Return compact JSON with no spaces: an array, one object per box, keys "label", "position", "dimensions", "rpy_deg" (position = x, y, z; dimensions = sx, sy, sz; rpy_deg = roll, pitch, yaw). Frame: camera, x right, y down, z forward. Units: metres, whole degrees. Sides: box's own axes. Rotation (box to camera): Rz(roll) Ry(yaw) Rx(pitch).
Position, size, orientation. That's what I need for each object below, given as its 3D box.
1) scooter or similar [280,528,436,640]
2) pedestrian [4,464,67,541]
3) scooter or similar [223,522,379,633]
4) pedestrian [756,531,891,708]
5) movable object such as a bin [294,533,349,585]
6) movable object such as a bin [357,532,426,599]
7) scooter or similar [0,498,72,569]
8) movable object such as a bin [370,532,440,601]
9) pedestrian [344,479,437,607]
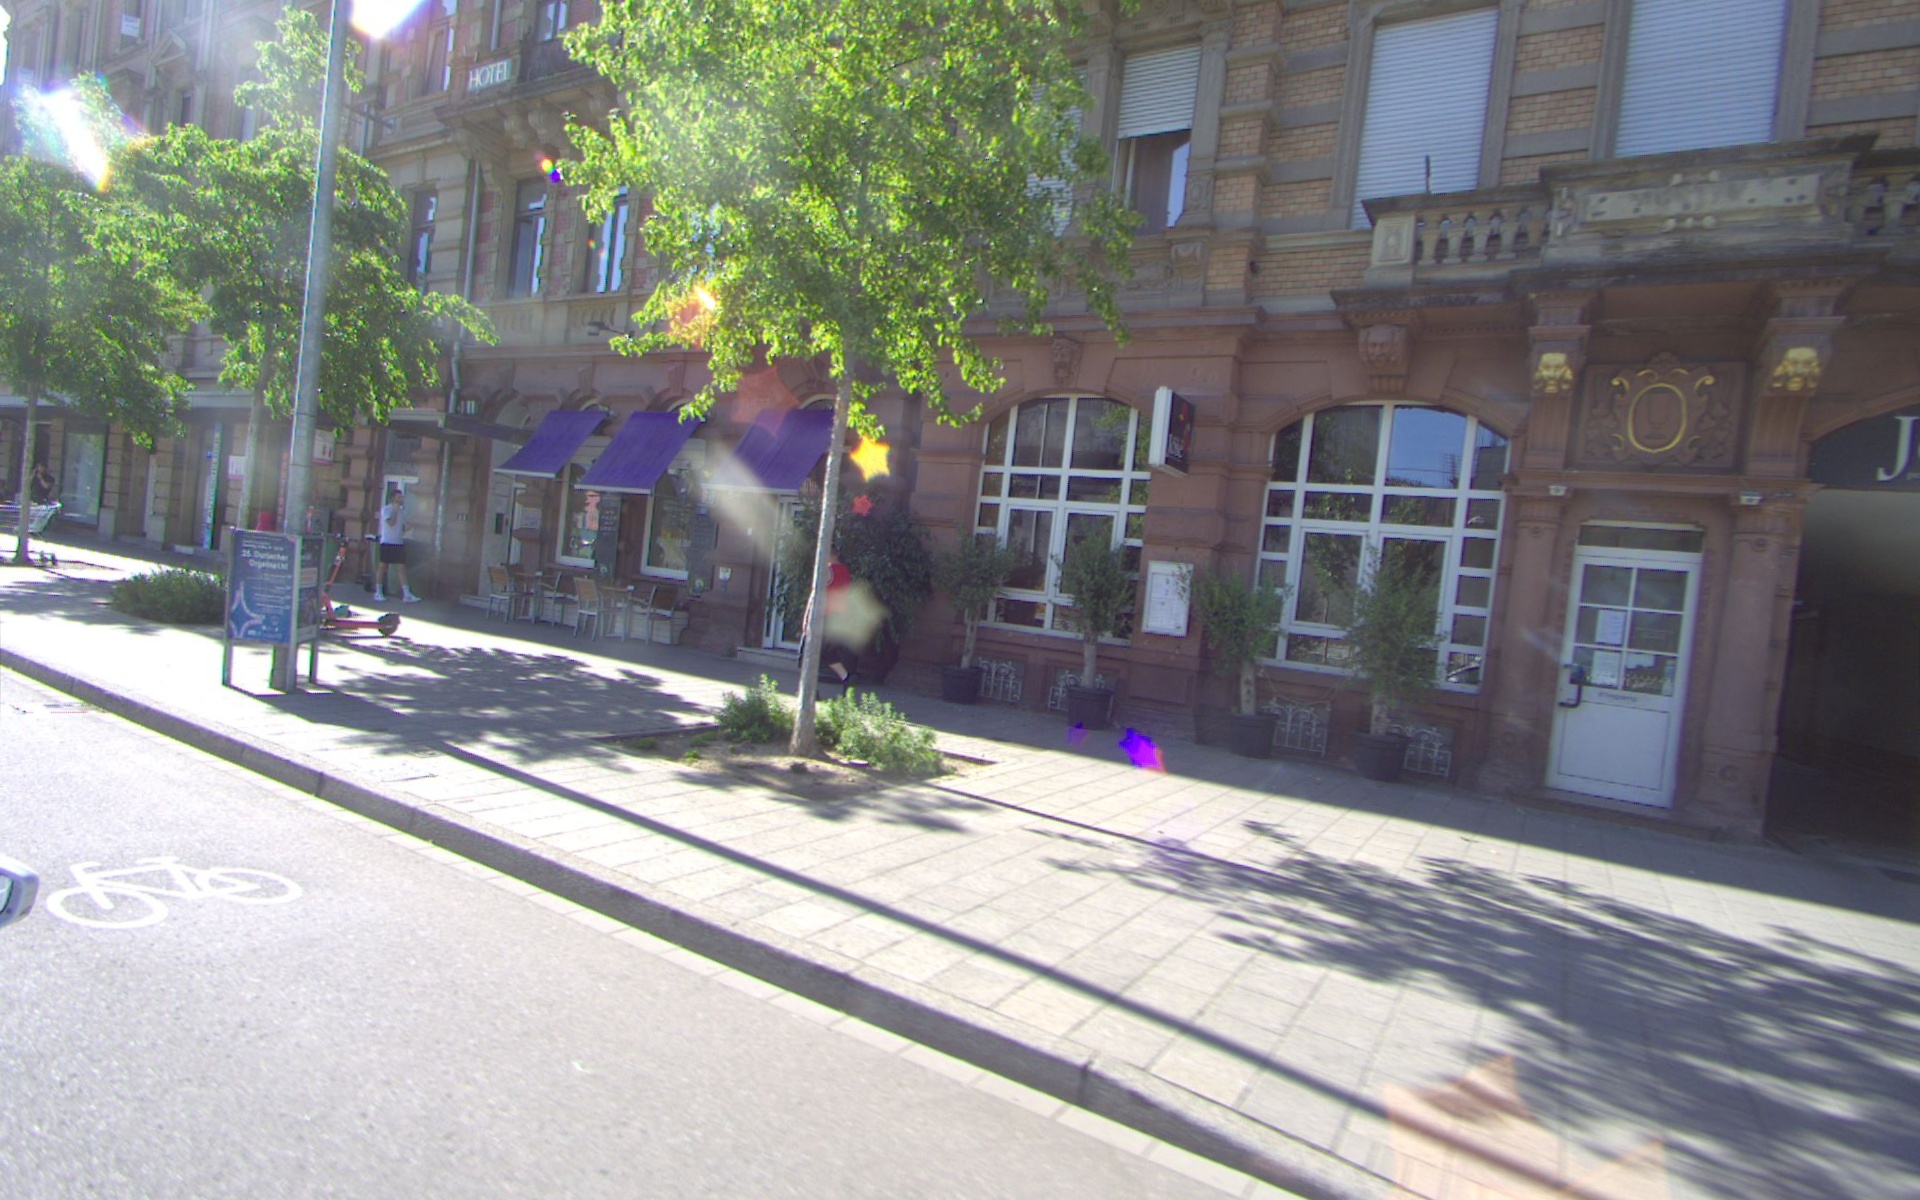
[{"label":"scooter or similar","position":[-7.281,-0.172,12.231],"dimensions":[0.591,1.233,1.475],"rpy_deg":[8,3,27]},{"label":"pedestrian","position":[-22.678,-2.388,24.681],"dimensions":[0.872,1.764,0.845],"rpy_deg":[6,2,32]},{"label":"scooter or similar","position":[-8.056,-0.258,12.358],"dimensions":[0.591,1.233,1.476],"rpy_deg":[8,3,21]},{"label":"pedestrian","position":[-1.462,0.214,10.877],"dimensions":[0.851,1.753,0.997],"rpy_deg":[6,1,30]},{"label":"movable object such as a bin","position":[-12.610,-0.808,19.867],"dimensions":[0.639,0.927,0.605],"rpy_deg":[7,1,27]},{"label":"movable object such as a bin","position":[-10.491,-0.630,18.566],"dimensions":[0.734,1.111,0.726],"rpy_deg":[7,1,27]},{"label":"scooter or similar","position":[-16.388,-1.179,17.493],"dimensions":[0.770,1.121,1.220],"rpy_deg":[8,2,34]},{"label":"movable object such as a bin","position":[-9.939,-0.596,18.019],"dimensions":[0.734,1.111,0.726],"rpy_deg":[7,1,27]},{"label":"pedestrian","position":[-9.639,-0.960,17.044],"dimensions":[1.029,2.037,0.819],"rpy_deg":[4,-1,31]}]
